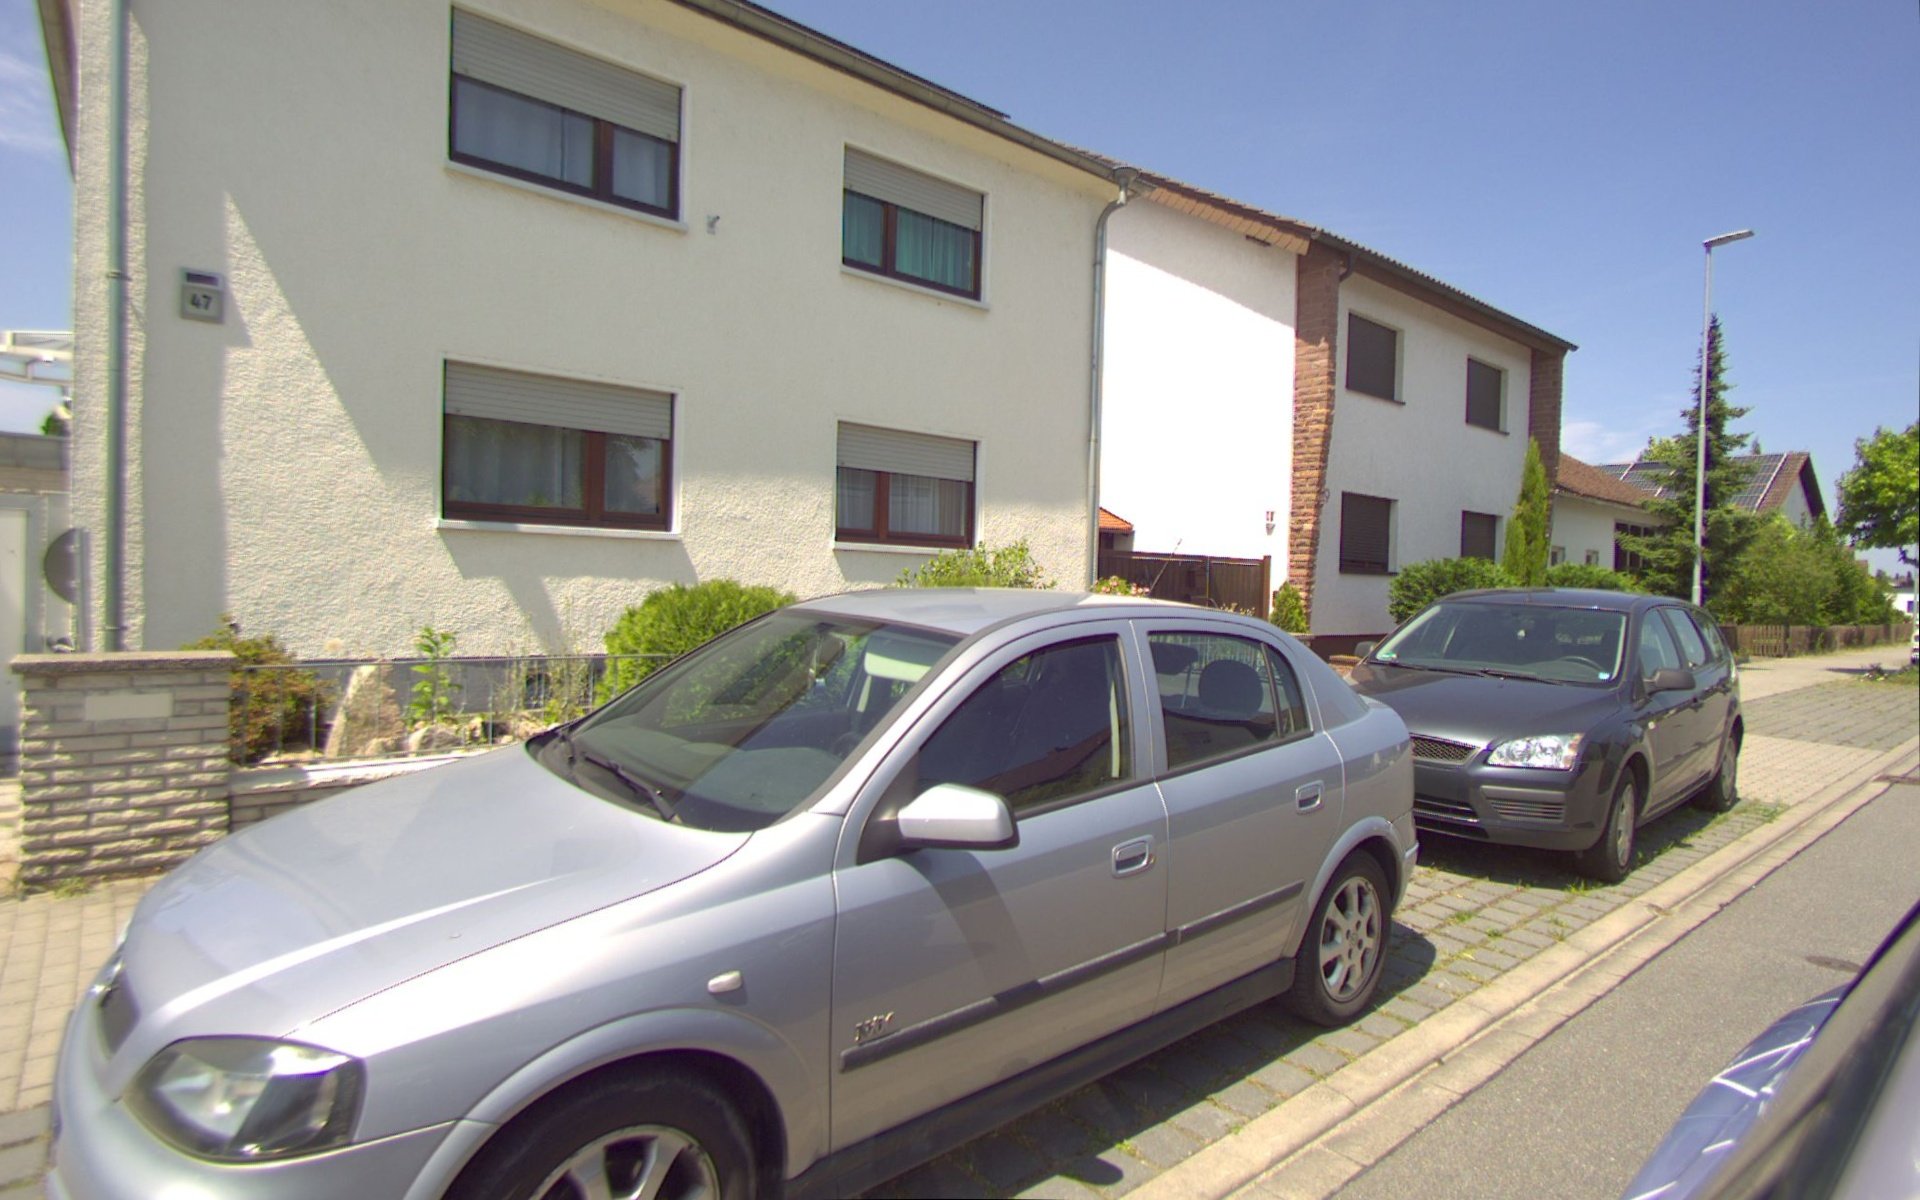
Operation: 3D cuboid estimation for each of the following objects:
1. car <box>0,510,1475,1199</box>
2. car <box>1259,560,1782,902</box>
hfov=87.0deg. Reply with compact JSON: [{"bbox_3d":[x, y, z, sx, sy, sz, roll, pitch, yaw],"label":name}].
[{"bbox_3d":[-0.208,0.595,3.197,4.020,1.438,1.818,1,1,-40],"label":"car"},{"bbox_3d":[3.952,0.580,6.751,4.373,1.552,1.744,0,2,-43],"label":"car"}]
